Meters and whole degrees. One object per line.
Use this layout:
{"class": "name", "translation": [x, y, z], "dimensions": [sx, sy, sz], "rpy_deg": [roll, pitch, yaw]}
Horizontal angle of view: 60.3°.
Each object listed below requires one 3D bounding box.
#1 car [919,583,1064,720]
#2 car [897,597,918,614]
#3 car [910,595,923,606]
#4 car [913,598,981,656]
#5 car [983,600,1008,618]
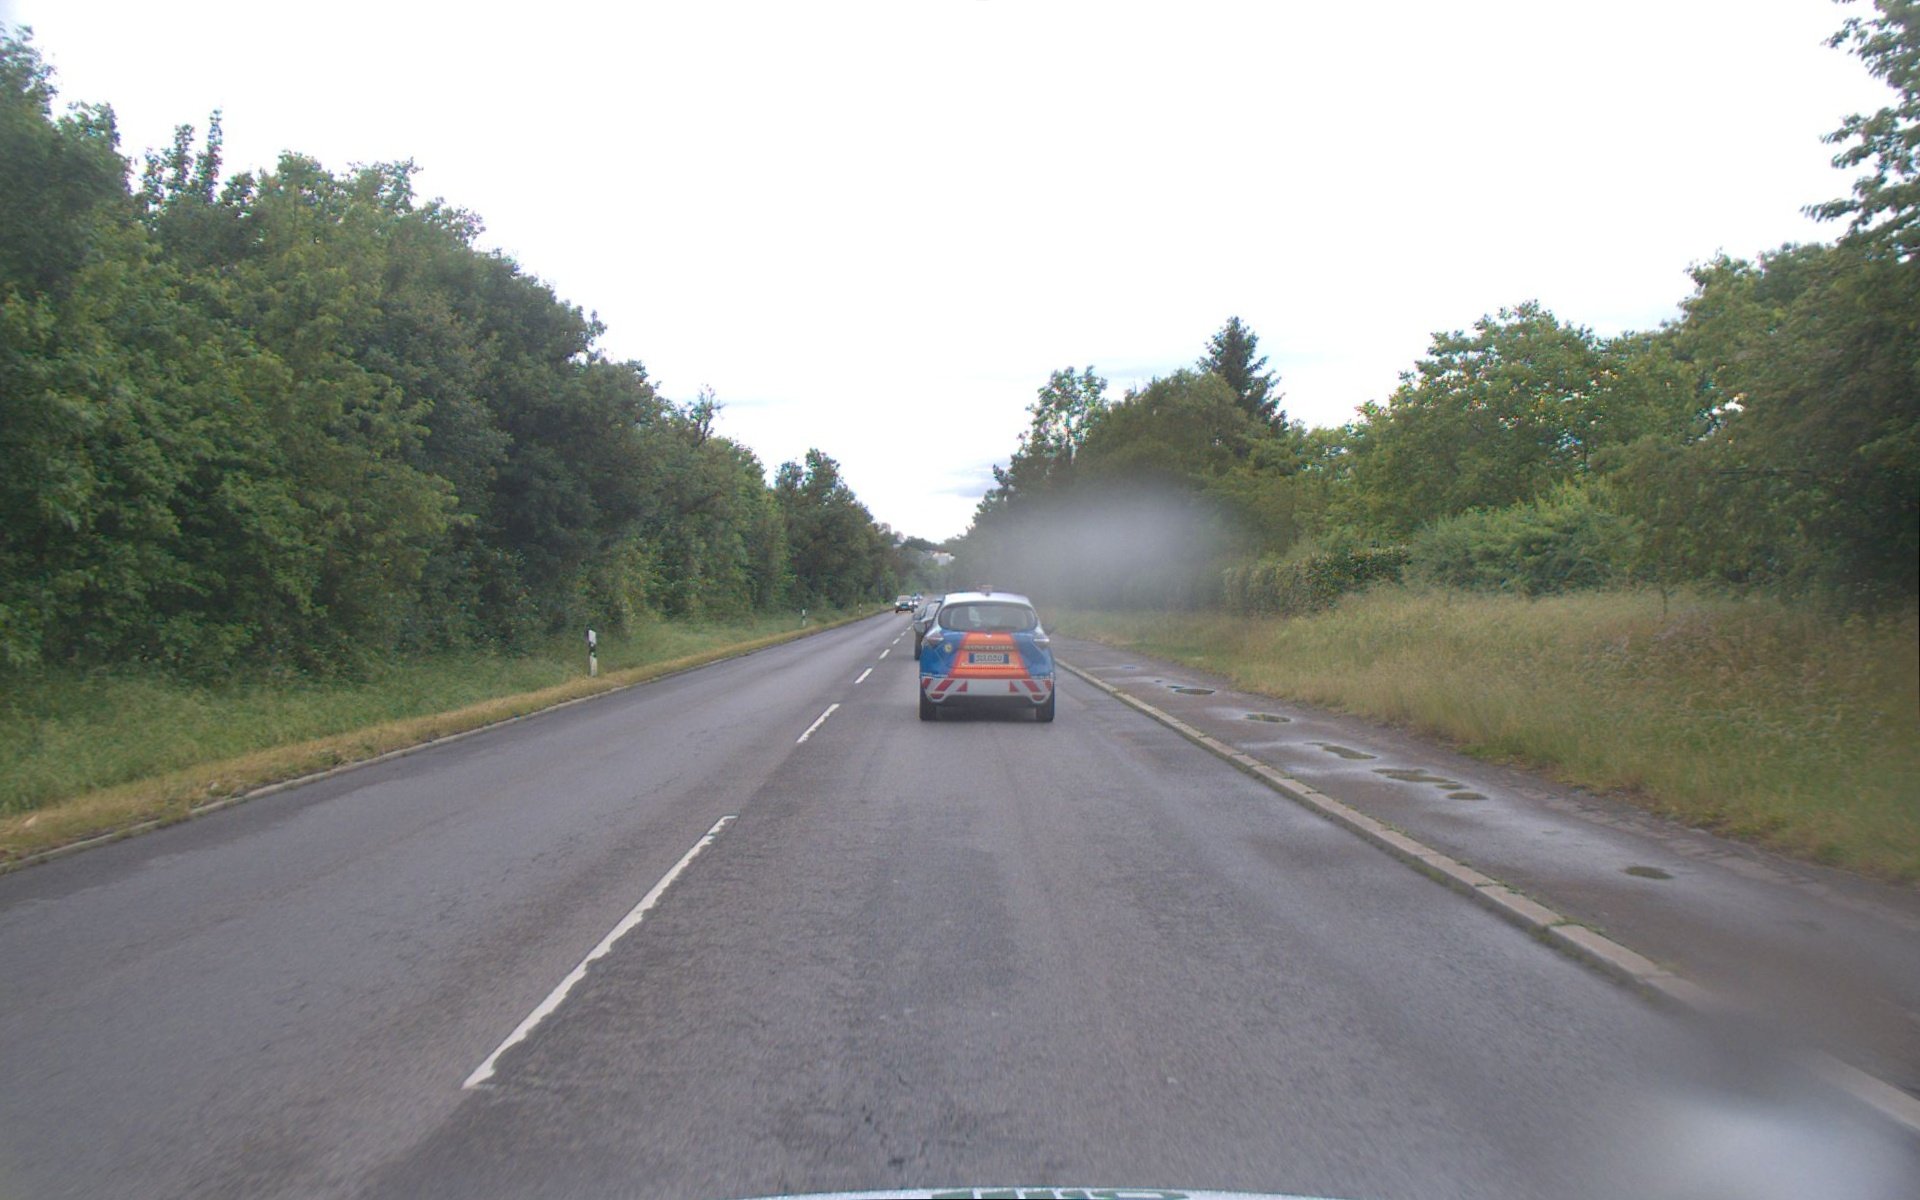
{"class": "car", "translation": [0.352, 0.596, 21.582], "dimensions": [1.716, 1.583, 3.792], "rpy_deg": [0, 1, -1]}
{"class": "car", "translation": [-5.100, 0.540, 160.501], "dimensions": [1.866, 1.584, 4.515], "rpy_deg": [-1, 0, -1]}
{"class": "car", "translation": [-5.733, 0.060, 217.178], "dimensions": [1.676, 1.423, 4.149], "rpy_deg": [-3, 0, -1]}
{"class": "car", "translation": [-0.301, 0.640, 40.763], "dimensions": [1.566, 1.309, 3.476], "rpy_deg": [-1, 0, 0]}
{"class": "car", "translation": [2.939, 0.741, 136.793], "dimensions": [1.953, 1.400, 4.000], "rpy_deg": [-1, 0, 0]}
